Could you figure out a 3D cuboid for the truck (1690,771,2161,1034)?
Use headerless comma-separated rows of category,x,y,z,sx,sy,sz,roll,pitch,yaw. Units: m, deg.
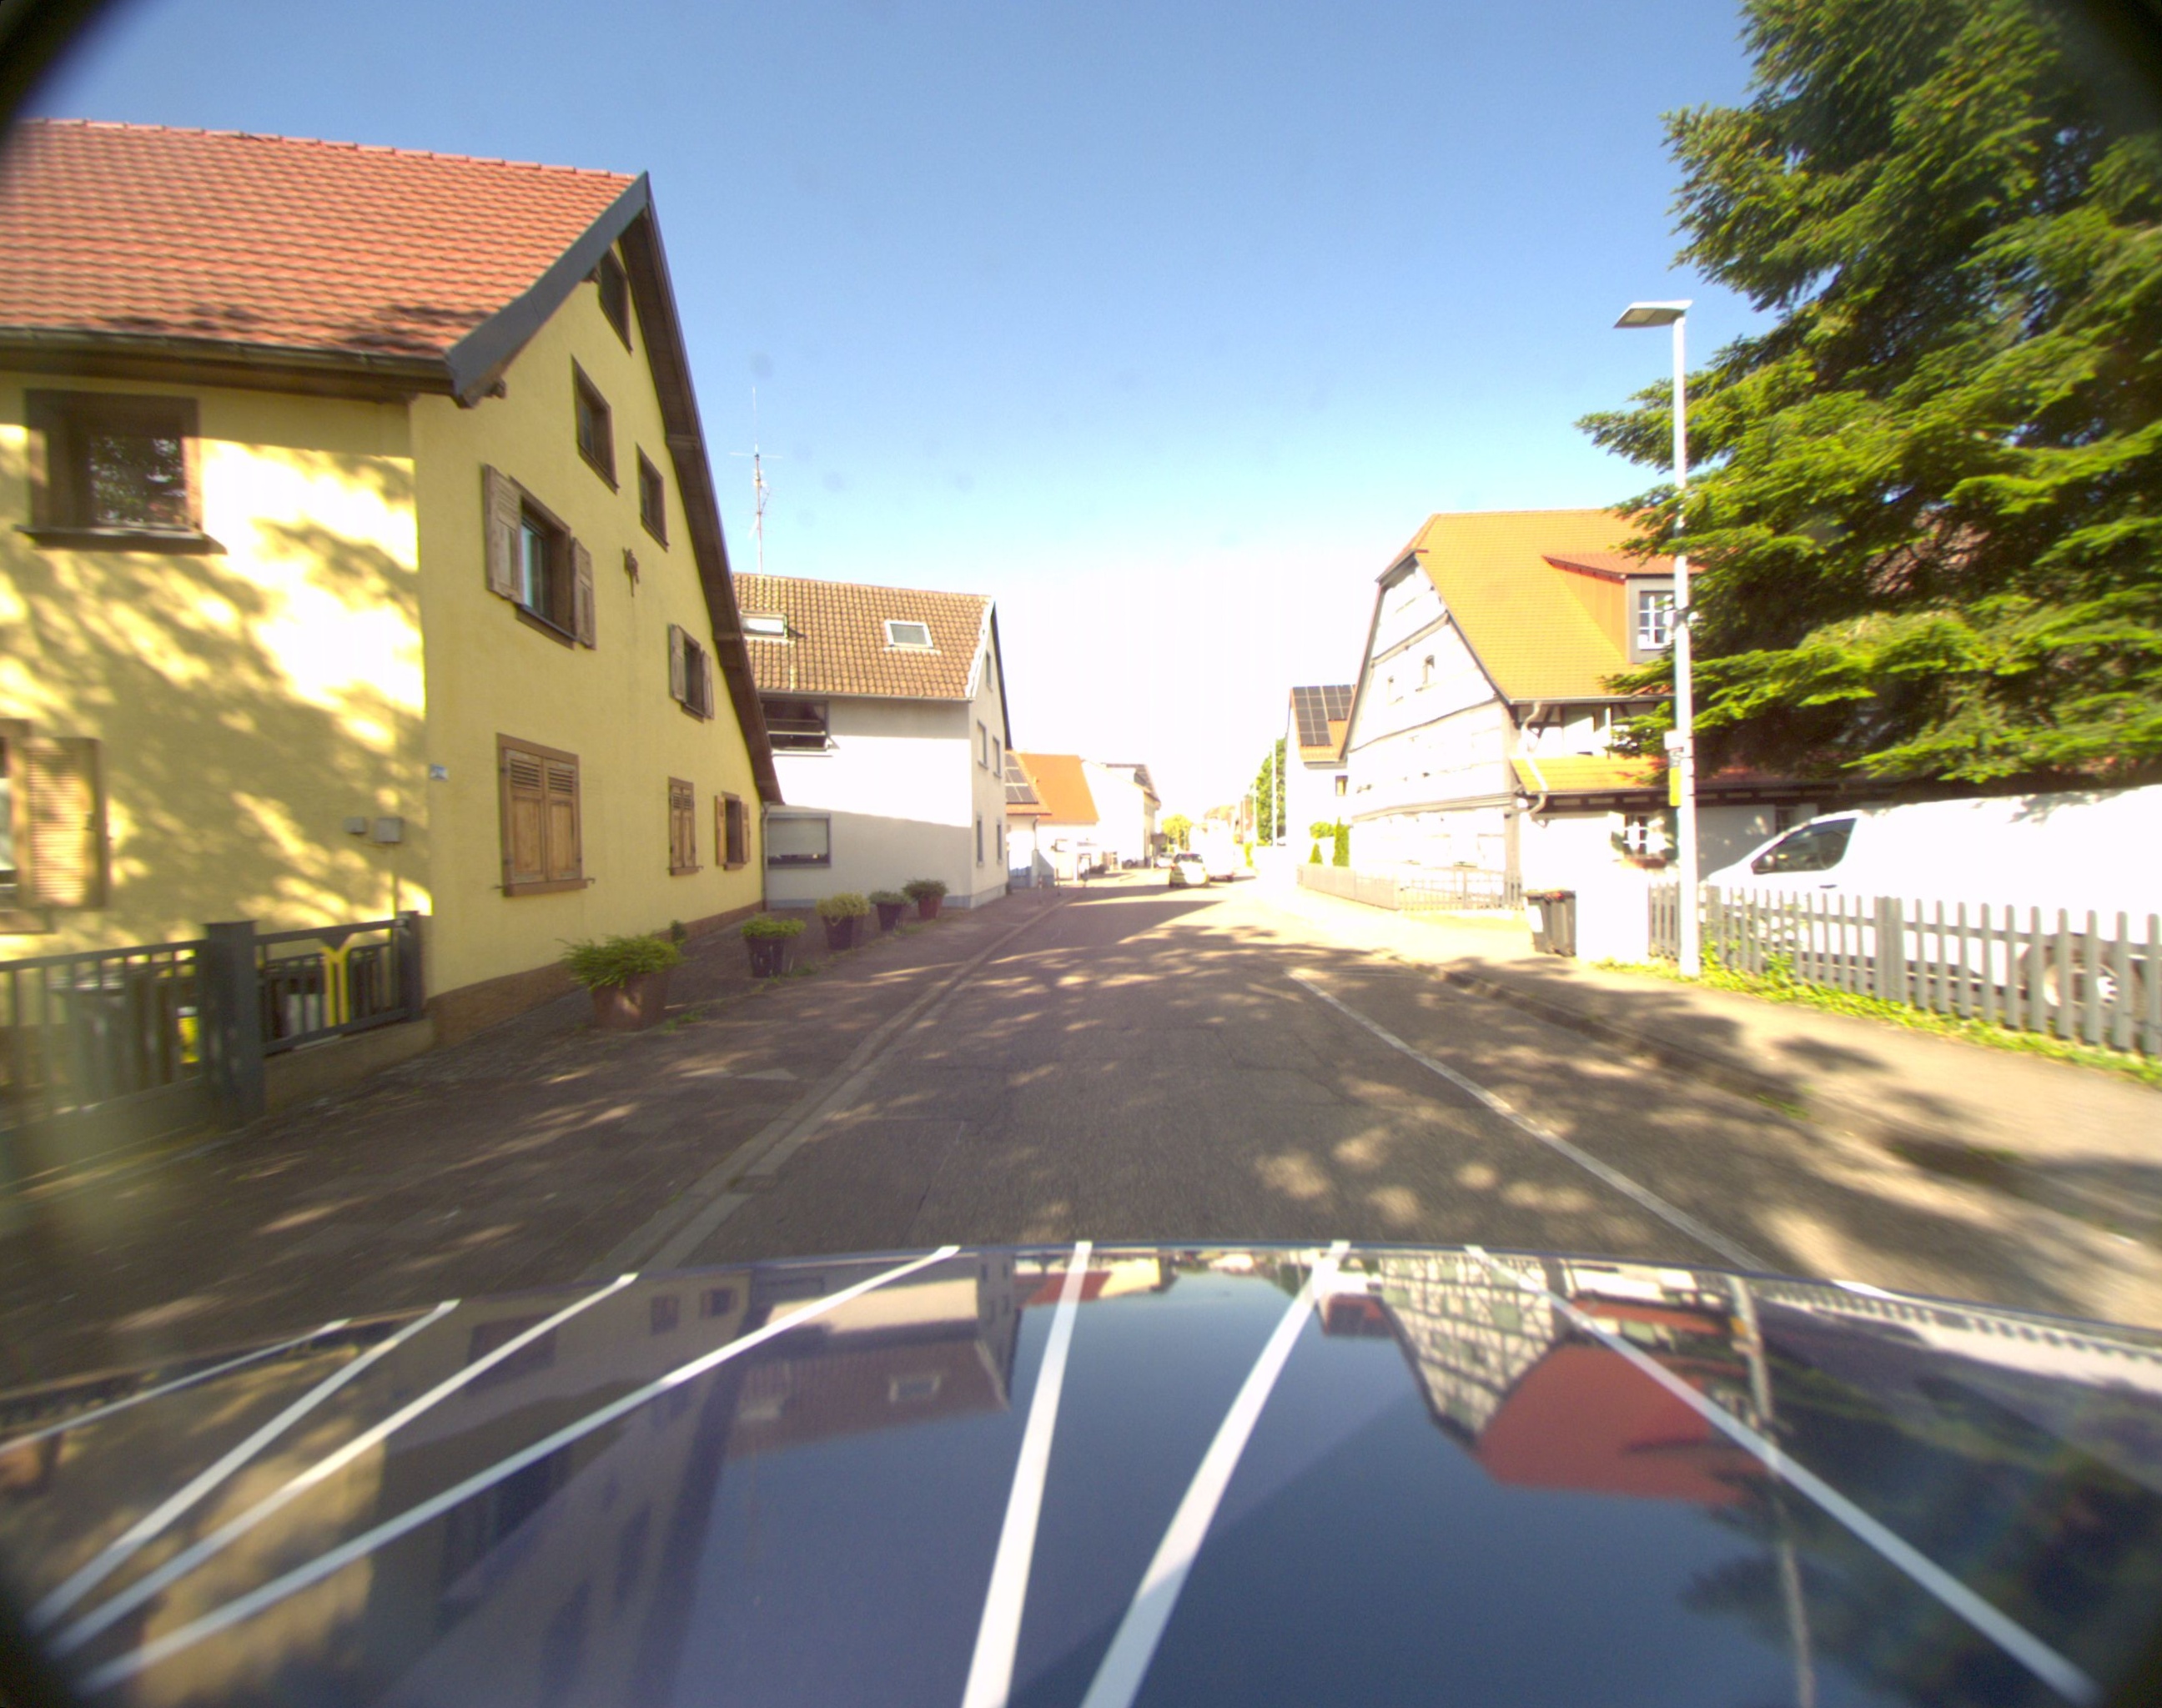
truck,8.571,0.297,7.096,1.998,1.838,4.752,-2,0,1

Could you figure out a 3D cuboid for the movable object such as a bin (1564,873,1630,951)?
movable object such as a bin,6.578,0.724,9.702,0.525,0.942,0.430,-2,1,-5

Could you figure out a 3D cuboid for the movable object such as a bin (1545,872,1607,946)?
movable object such as a bin,6.610,0.721,10.152,0.525,0.942,0.430,-2,1,-5

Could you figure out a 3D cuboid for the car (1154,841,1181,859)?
car,7.511,-0.397,65.390,1.805,1.469,4.347,-1,1,13

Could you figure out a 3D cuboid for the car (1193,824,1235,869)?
car,6.985,-0.402,39.919,2.059,2.233,4.863,0,1,10

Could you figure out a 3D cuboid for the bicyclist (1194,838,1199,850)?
bicyclist,12.813,-1.059,84.196,0.582,1.313,0.608,1,1,7

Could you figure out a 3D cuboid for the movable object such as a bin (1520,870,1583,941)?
movable object such as a bin,6.598,0.709,10.670,0.525,0.942,0.519,-2,1,-5

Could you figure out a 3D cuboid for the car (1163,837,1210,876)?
car,4.666,0.075,33.221,1.892,1.581,4.003,0,1,10

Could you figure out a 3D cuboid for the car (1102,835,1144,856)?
car,4.139,-0.805,74.365,3.996,2.002,1.842,0,1,4
